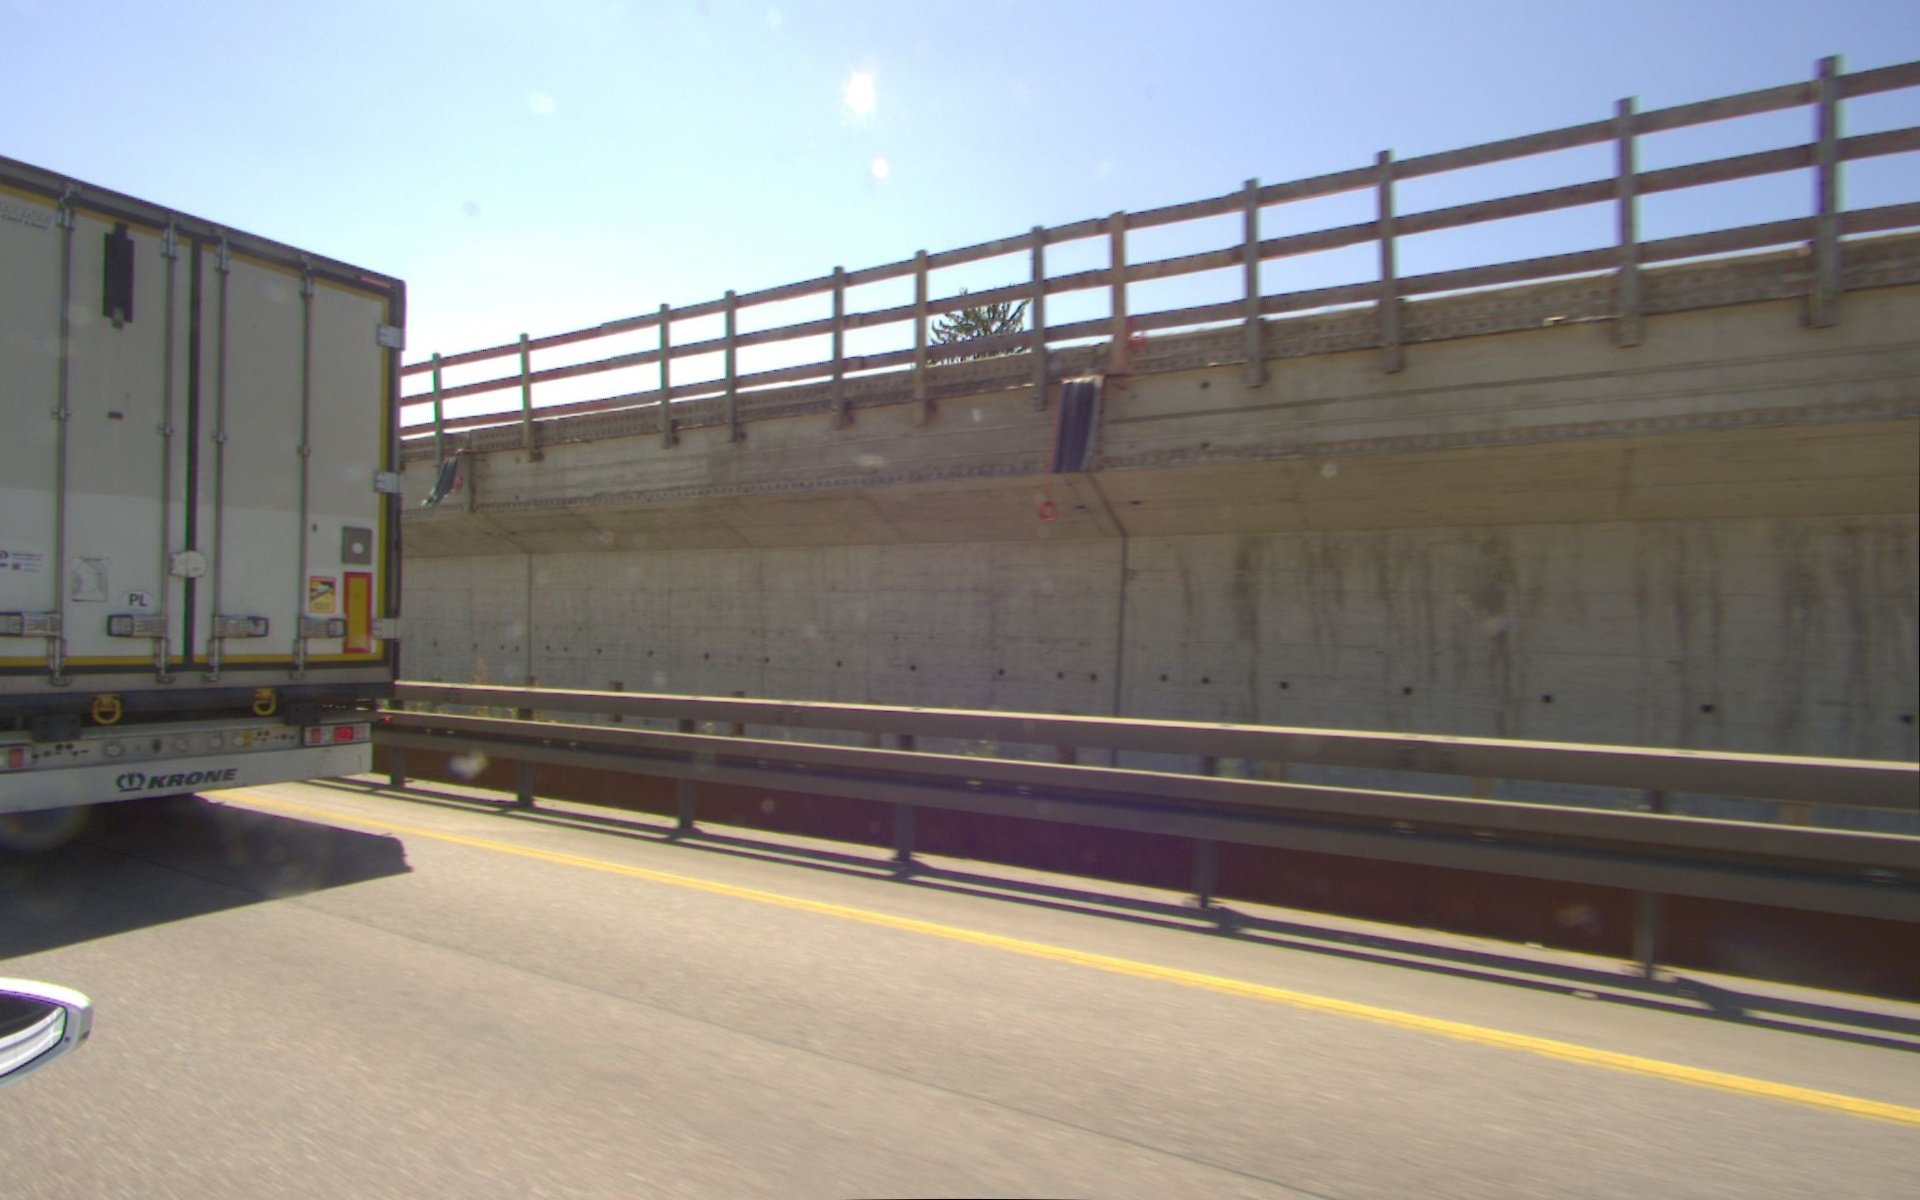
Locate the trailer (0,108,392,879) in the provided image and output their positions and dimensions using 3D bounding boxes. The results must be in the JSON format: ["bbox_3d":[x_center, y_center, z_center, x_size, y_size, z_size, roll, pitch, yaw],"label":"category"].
[{"bbox_3d":[-9.601,-0.455,9.152,11.381,4.179,2.528,-1,-2,32],"label":"trailer"}]
